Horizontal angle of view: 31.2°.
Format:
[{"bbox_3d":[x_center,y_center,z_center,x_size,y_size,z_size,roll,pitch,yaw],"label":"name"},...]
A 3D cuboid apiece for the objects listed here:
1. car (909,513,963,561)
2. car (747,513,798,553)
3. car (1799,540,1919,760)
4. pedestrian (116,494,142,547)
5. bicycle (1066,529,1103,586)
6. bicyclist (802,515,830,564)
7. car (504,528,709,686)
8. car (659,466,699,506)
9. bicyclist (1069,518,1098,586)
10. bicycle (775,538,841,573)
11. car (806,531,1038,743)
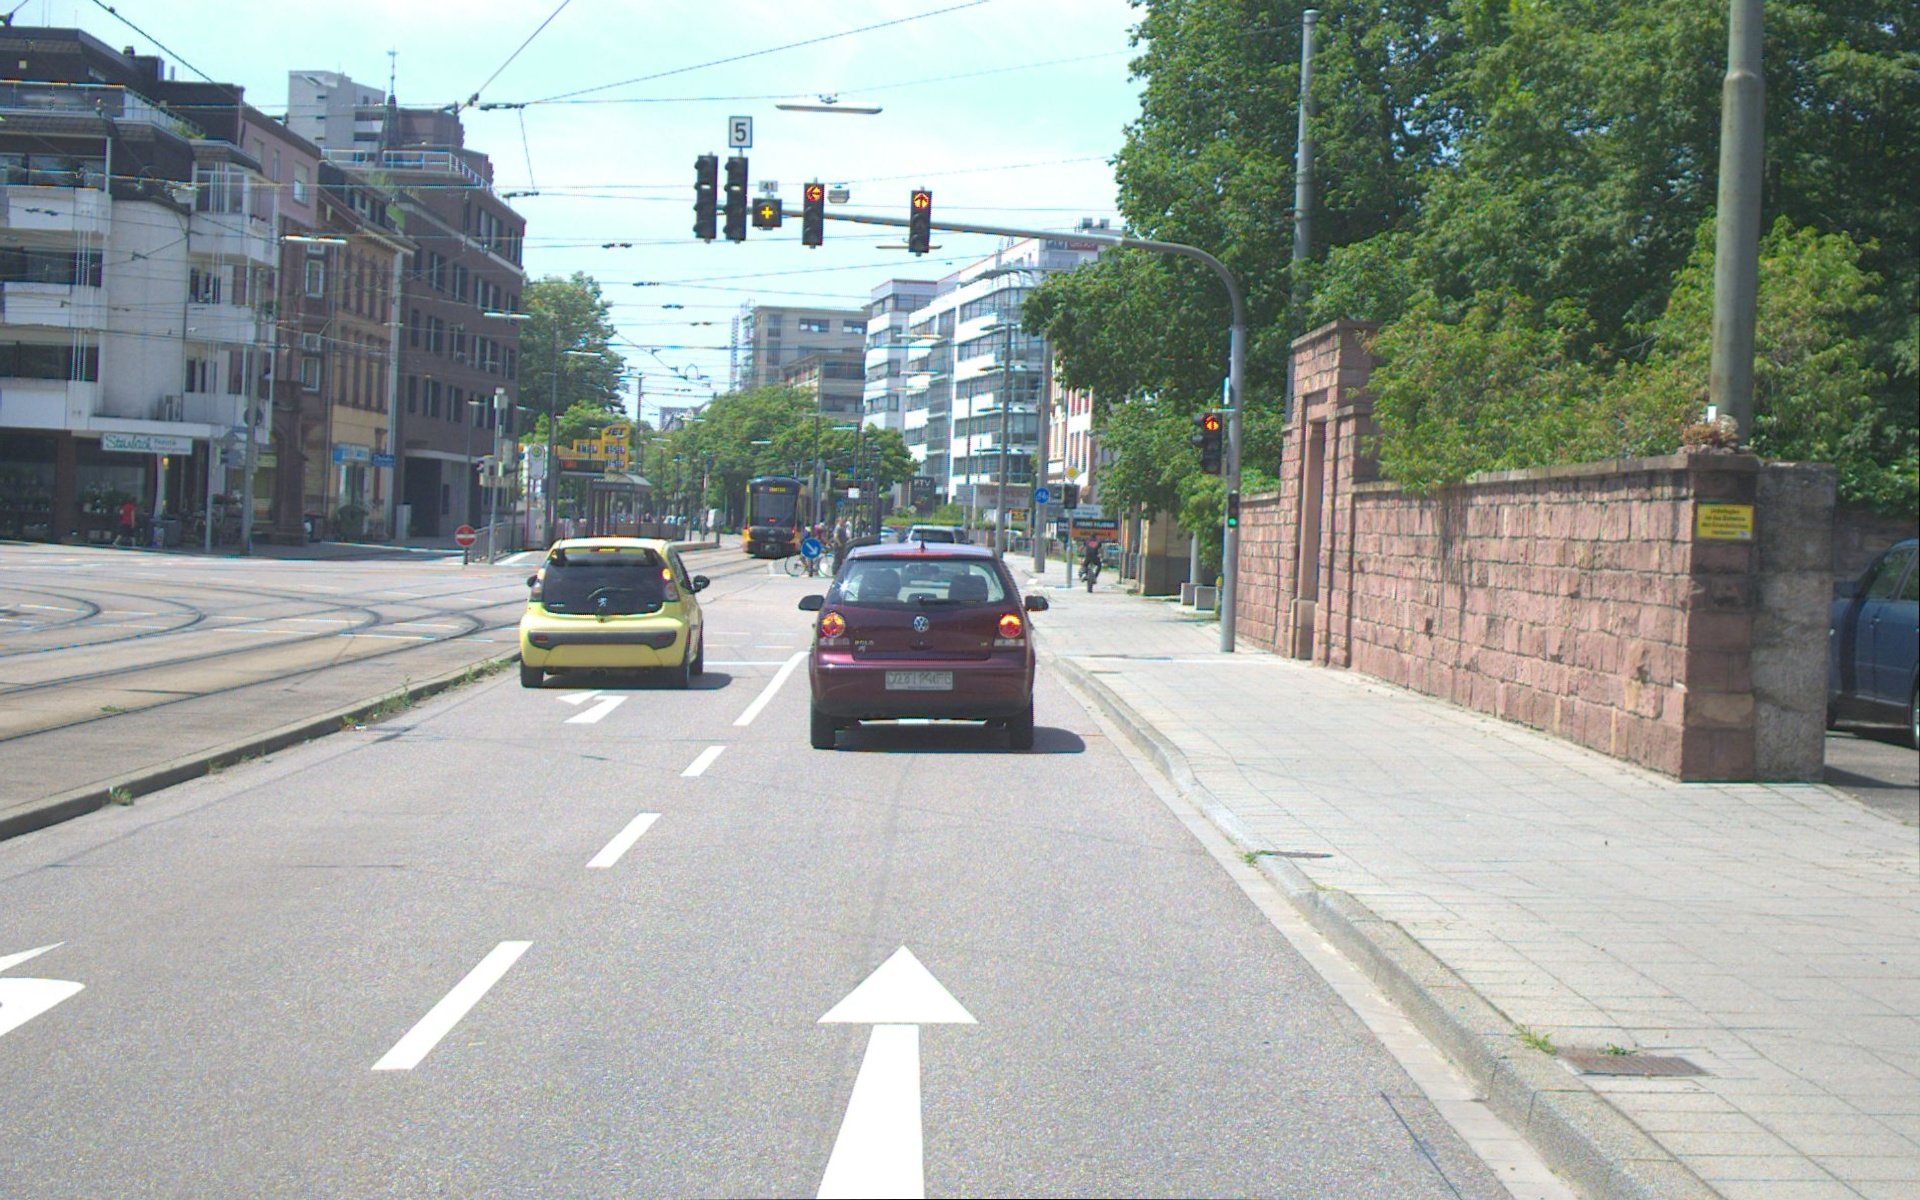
[{"bbox_3d":[-0.729,-1.883,102.631,1.572,1.411,3.720,0,1,-1],"label":"car"},{"bbox_3d":[-7.950,-2.819,146.086,1.938,1.635,4.000,1,1,-1],"label":"car"},{"bbox_3d":[7.272,0.355,24.907,1.480,1.477,2.945,3,1,-2],"label":"car"},{"bbox_3d":[-24.153,-2.320,99.933,0.485,1.535,0.537,1,1,41],"label":"pedestrian"},{"bbox_3d":[3.413,-1.166,94.516,0.835,1.520,4.000,1,1,0],"label":"bicycle"},{"bbox_3d":[-4.192,-1.766,100.076,0.765,1.401,0.506,1,0,-4],"label":"bicyclist"},{"bbox_3d":[-3.460,0.036,34.100,1.723,1.440,3.293,0,2,-1],"label":"car"},{"bbox_3d":[-14.978,-6.065,183.423,1.735,2.007,4.000,2,1,0],"label":"car"},{"bbox_3d":[3.344,-1.304,93.170,0.721,1.812,0.888,1,0,0],"label":"bicyclist"},{"bbox_3d":[-4.427,-1.297,100.069,1.865,1.004,0.579,1,0,-4],"label":"bicycle"},{"bbox_3d":[-0.285,0.217,25.913,1.610,1.458,4.086,0,1,-1],"label":"car"}]
